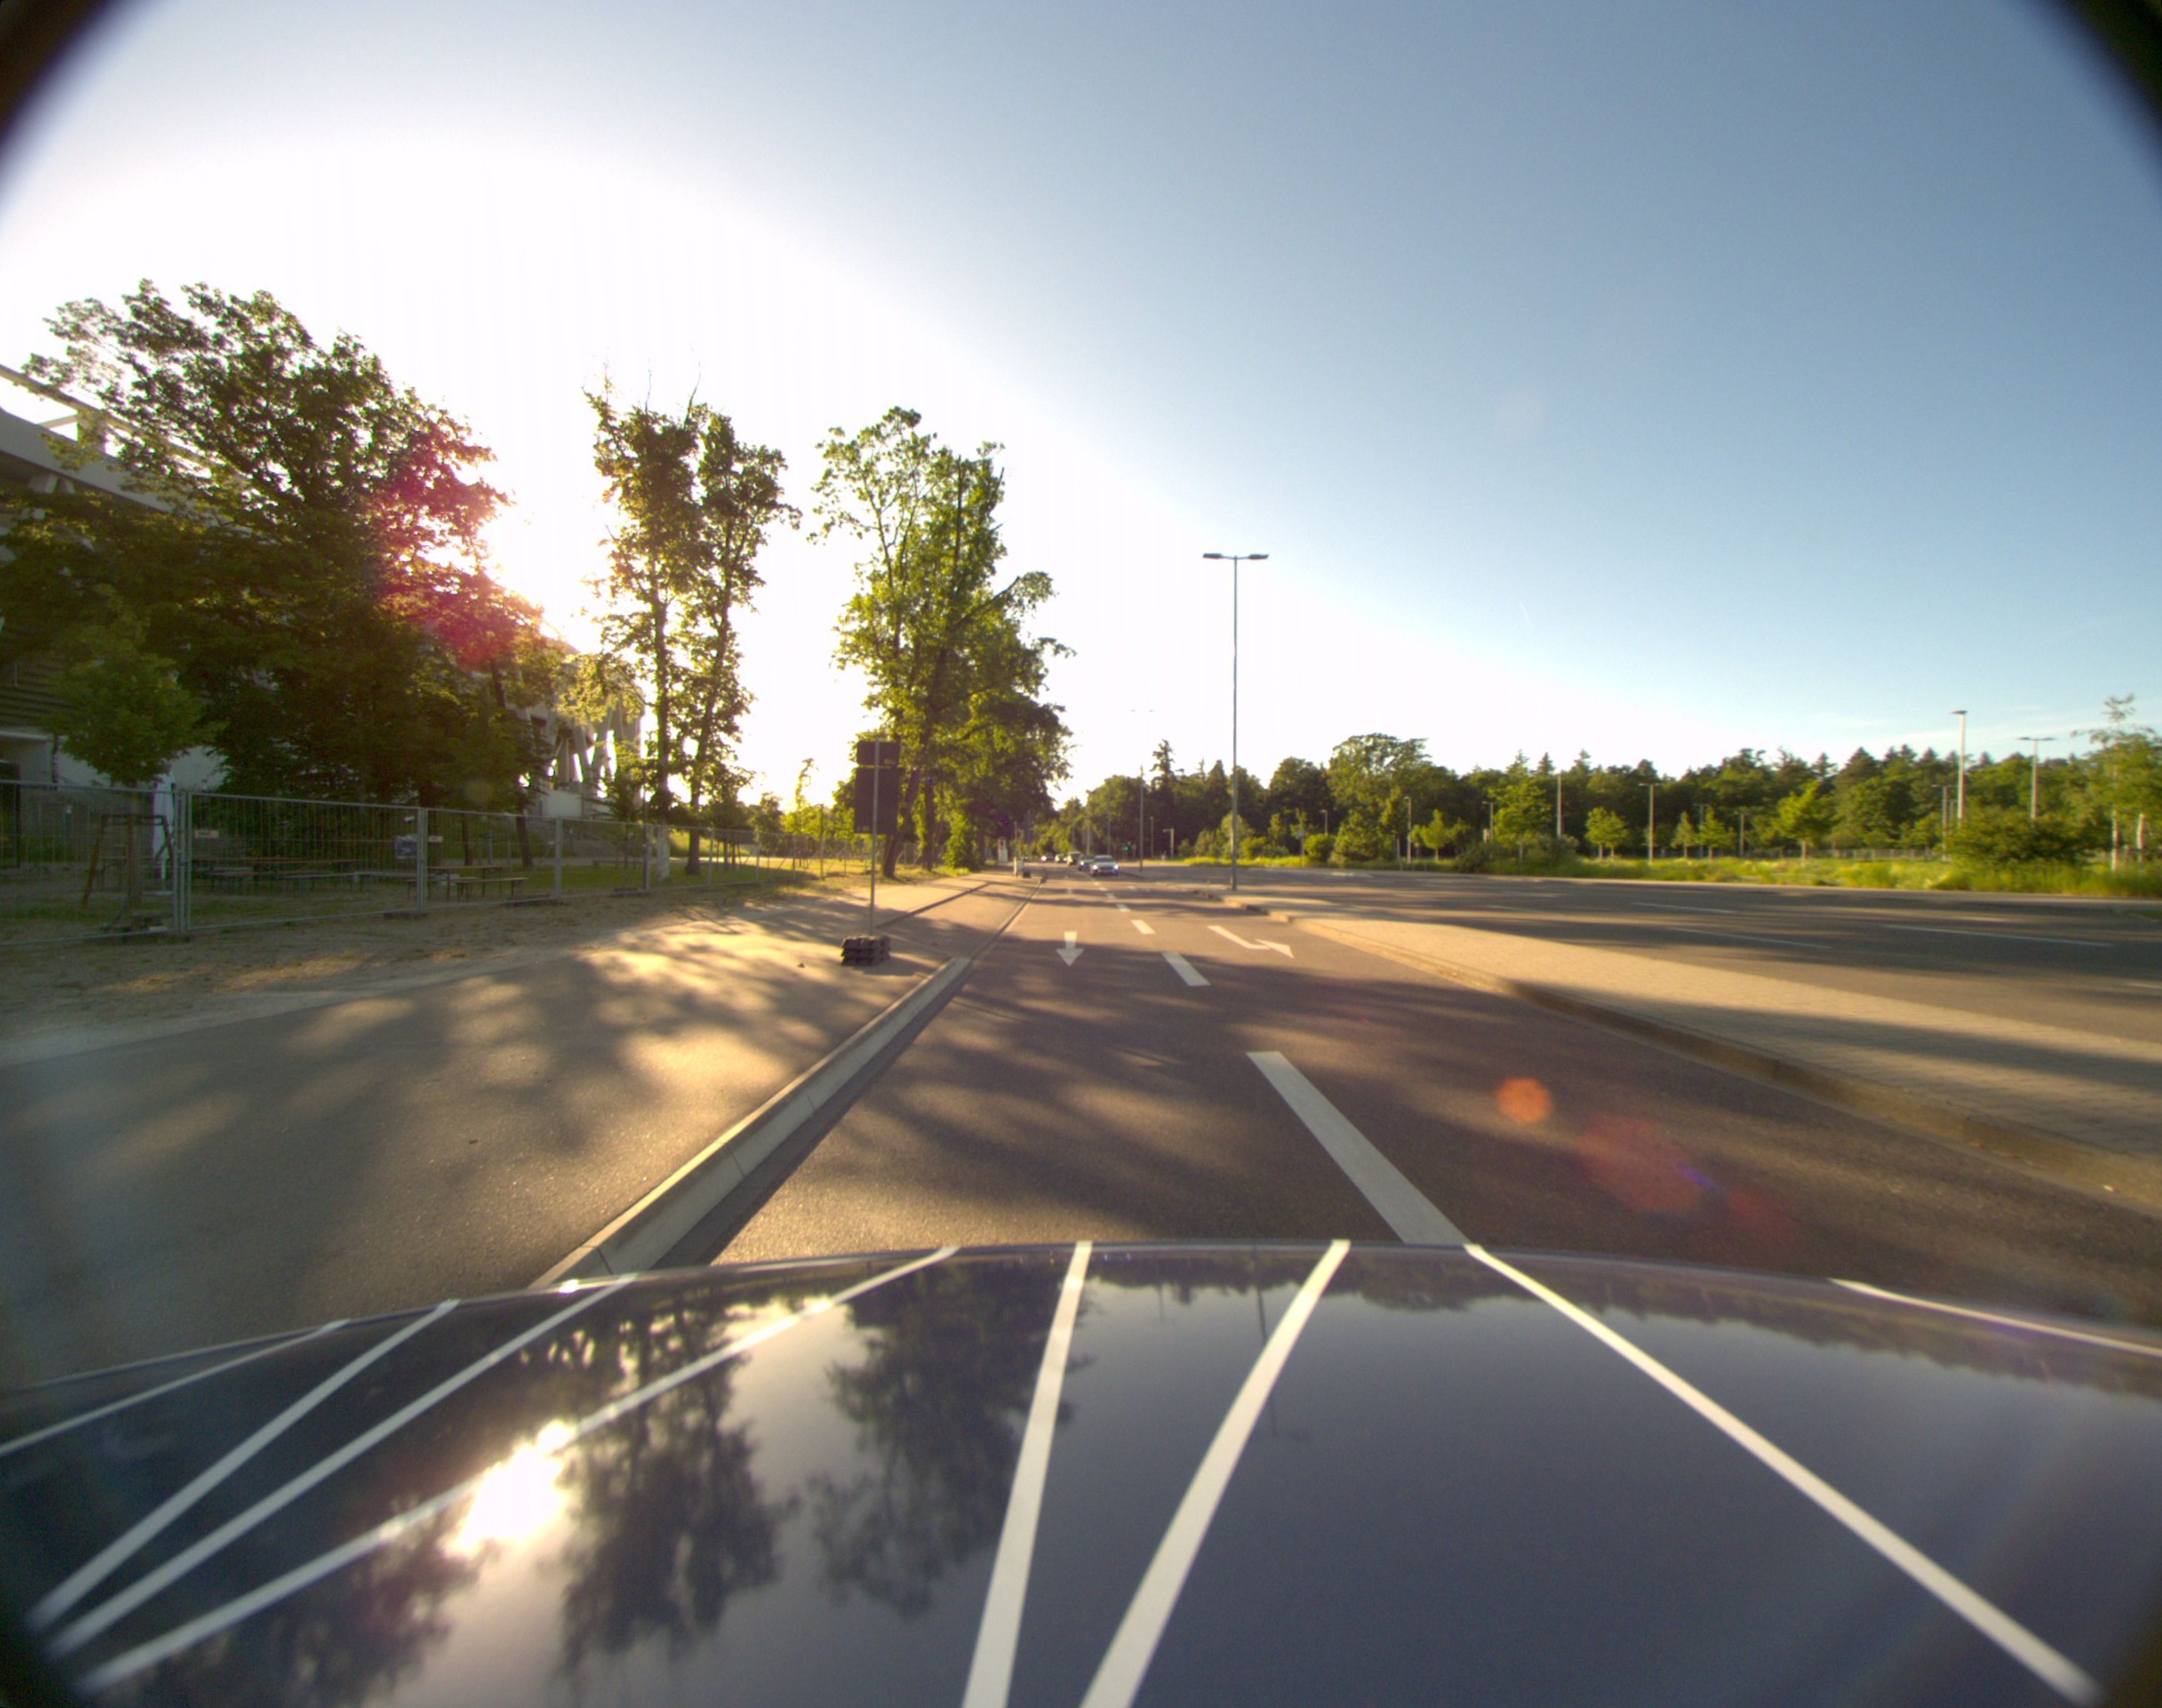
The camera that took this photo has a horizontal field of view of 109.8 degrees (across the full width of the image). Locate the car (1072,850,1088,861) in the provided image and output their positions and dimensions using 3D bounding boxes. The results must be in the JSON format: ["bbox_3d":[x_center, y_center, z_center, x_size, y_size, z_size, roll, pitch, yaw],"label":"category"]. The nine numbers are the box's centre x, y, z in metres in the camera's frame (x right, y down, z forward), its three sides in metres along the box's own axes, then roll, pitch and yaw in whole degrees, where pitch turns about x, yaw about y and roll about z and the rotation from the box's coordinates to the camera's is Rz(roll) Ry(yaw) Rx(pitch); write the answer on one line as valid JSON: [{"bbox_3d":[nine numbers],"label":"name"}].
[{"bbox_3d":[-0.195,0.158,101.903,1.841,1.395,4.990,-1,0,-3],"label":"car"}]

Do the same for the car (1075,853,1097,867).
[{"bbox_3d":[0.488,0.569,77.814,1.841,1.395,4.990,-1,0,-3],"label":"car"}]

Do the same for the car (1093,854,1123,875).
[{"bbox_3d":[1.898,0.698,54.601,1.841,1.395,3.999,-1,0,-2],"label":"car"}]

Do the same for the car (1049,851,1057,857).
[{"bbox_3d":[-7.251,-0.059,193.886,1.842,1.395,4.989,-1,0,-4],"label":"car"}]

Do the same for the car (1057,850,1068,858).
[{"bbox_3d":[-3.255,-0.001,135.036,1.841,1.395,4.990,-1,0,-2],"label":"car"}]
